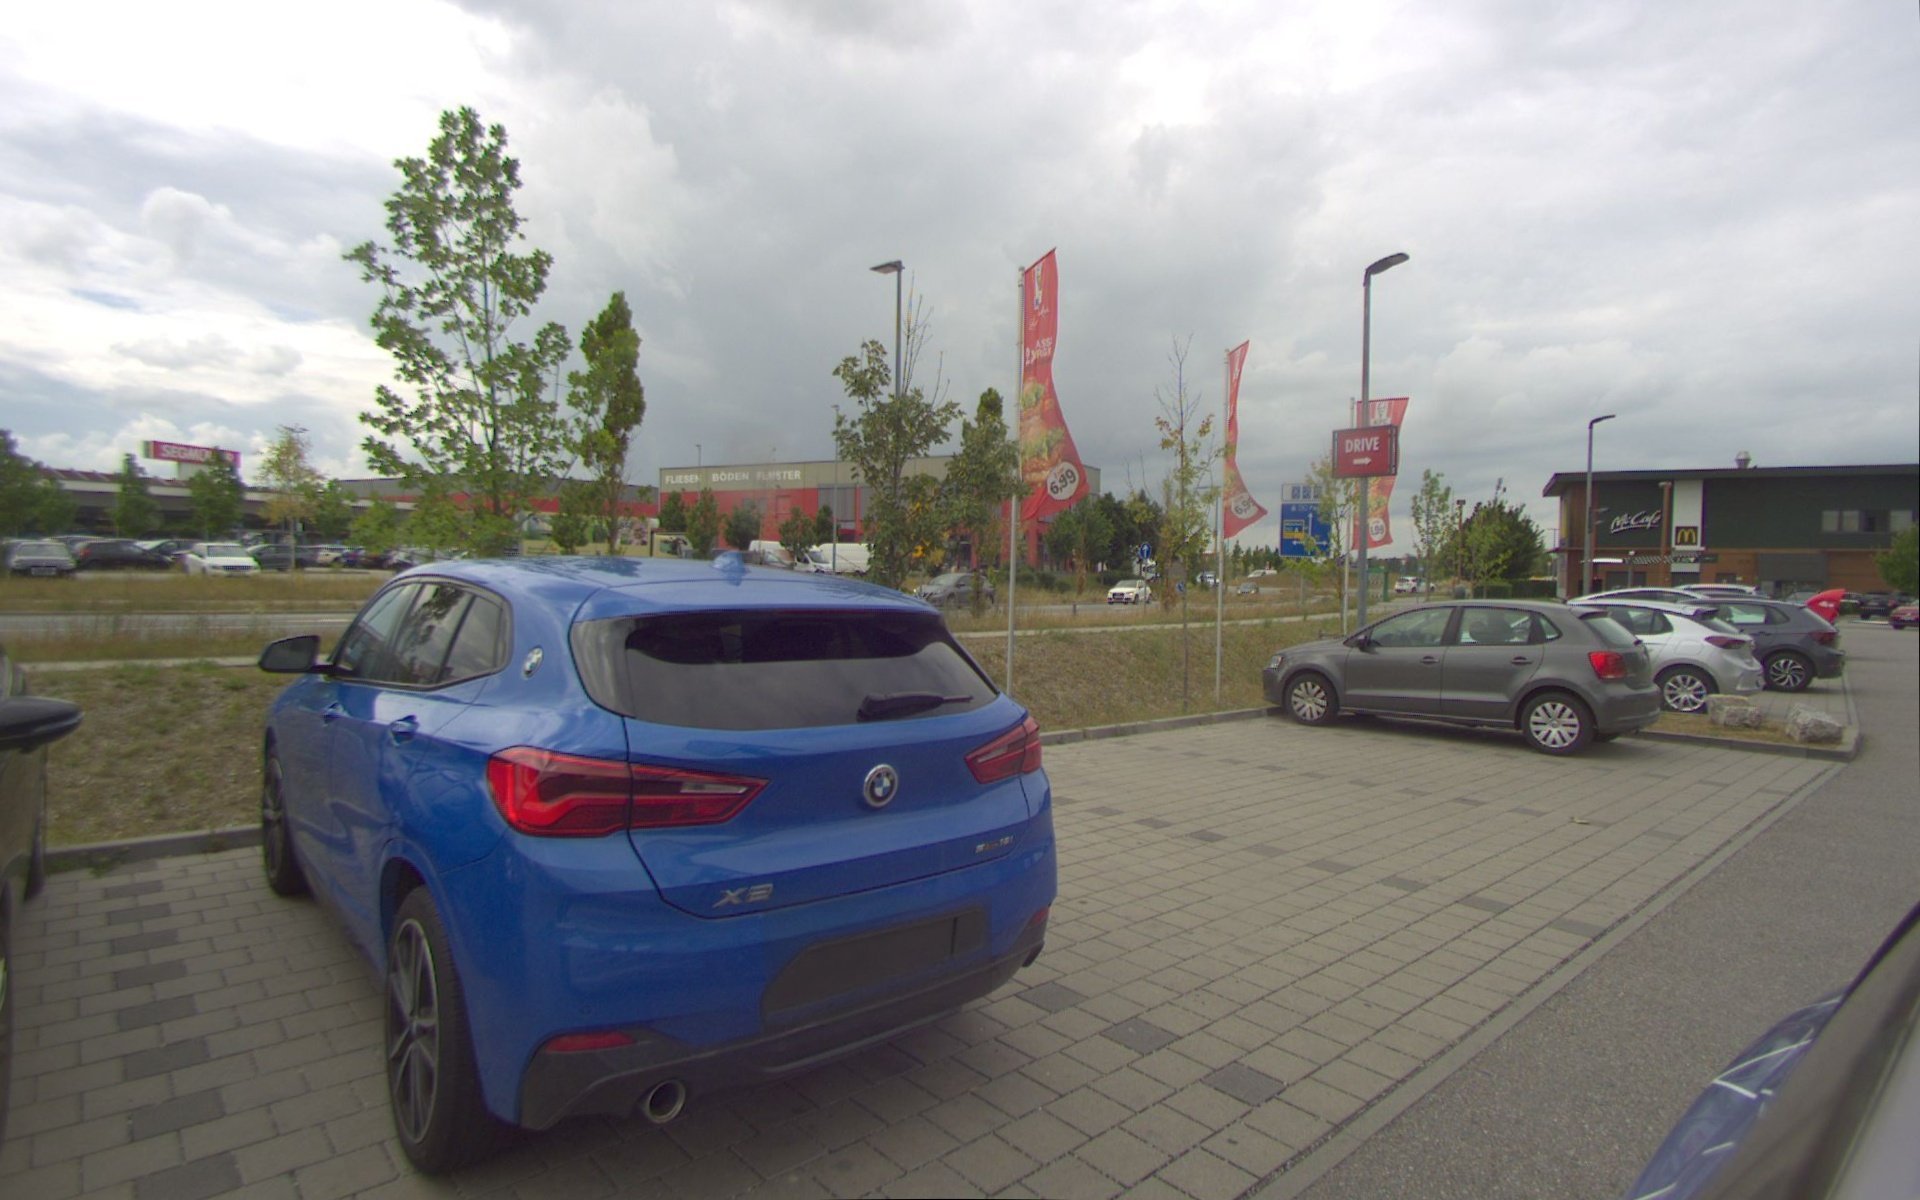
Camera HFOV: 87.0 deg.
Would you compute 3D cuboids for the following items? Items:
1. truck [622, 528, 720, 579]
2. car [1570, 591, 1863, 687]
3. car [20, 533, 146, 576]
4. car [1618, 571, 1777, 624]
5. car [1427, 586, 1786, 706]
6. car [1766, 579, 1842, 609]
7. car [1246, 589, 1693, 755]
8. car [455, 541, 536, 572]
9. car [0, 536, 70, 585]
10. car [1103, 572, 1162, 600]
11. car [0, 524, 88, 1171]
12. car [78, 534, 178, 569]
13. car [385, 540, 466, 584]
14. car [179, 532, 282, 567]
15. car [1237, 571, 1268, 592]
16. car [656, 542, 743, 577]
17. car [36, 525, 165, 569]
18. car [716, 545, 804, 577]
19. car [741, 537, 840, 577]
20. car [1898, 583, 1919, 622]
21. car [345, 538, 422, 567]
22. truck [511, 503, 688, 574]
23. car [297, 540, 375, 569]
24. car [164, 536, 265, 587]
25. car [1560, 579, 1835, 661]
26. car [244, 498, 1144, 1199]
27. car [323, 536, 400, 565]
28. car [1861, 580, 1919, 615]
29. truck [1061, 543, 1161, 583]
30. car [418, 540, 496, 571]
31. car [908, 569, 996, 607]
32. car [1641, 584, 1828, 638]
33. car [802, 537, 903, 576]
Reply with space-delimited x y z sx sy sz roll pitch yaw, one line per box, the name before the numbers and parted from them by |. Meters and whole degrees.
truck | -23.473 -3.796 81.935 8.186 3.788 2.630 4 3 30
car | 12.618 0.574 17.028 3.792 1.430 1.713 0 1 42
car | -41.419 -2.131 47.863 1.986 1.860 4.138 4 3 33
car | 25.671 -0.102 35.452 4.340 1.734 1.969 0 0 33
car | 8.850 0.531 14.050 3.927 1.430 1.810 0 1 45
car | 49.222 -0.335 59.014 3.823 1.603 1.755 1 3 -22
car | 5.292 0.607 10.906 1.698 1.446 3.992 0 1 -42
car | -28.057 -2.613 61.253 1.981 1.793 4.104 3 3 27
car | -32.872 -1.411 35.804 4.043 1.558 1.744 5 4 43
car | 9.977 -0.789 58.282 1.745 1.510 4.076 2 1 36
car | -3.643 0.501 2.752 1.744 1.477 4.072 1 2 -39
car | -48.682 -2.824 59.273 1.986 1.860 4.138 4 3 33
car | -23.833 -1.703 45.058 4.308 1.793 1.901 5 4 43
car | -40.609 -2.795 56.445 1.985 1.793 4.273 4 3 32
car | 26.070 -1.674 90.149 1.980 1.726 3.967 3 4 25
car | -14.677 -2.274 56.941 5.040 1.908 2.051 2 2 36
car | -39.322 -2.416 46.396 1.986 1.860 4.138 4 3 33
car | -12.001 -2.339 60.651 5.030 1.659 2.055 4 2 31
car | -10.643 -2.721 63.460 6.011 2.241 2.390 4 2 31
car | 39.296 0.146 39.868 3.915 1.482 1.691 1 1 -18
car | -37.769 -3.117 66.337 1.985 1.793 3.956 4 3 31
truck | -18.448 -3.099 51.946 8.255 3.235 3.037 1 3 -22
car | -42.703 -3.104 69.349 1.986 1.860 4.139 4 3 32
car | -29.263 -1.536 39.701 4.295 1.793 1.975 4 3 36
car | 15.418 0.358 21.352 4.523 1.560 1.898 0 1 40
car | -1.510 0.531 4.030 1.832 1.563 4.210 0 2 -40
car | -40.152 -3.286 67.962 1.985 1.793 3.956 4 3 32
car | 52.531 -0.111 56.450 3.917 1.771 2.004 2 2 -26
truck | 18.878 -4.686 126.817 11.925 4.553 3.720 4 3 35
car | -31.012 -2.742 62.526 1.980 1.793 3.965 3 3 26
car | -0.298 -0.485 43.121 1.743 1.510 4.080 2 1 33
car | 21.897 0.286 28.840 4.040 1.430 1.867 0 1 33
car | -7.131 -2.877 67.038 6.448 2.295 2.323 4 3 29
